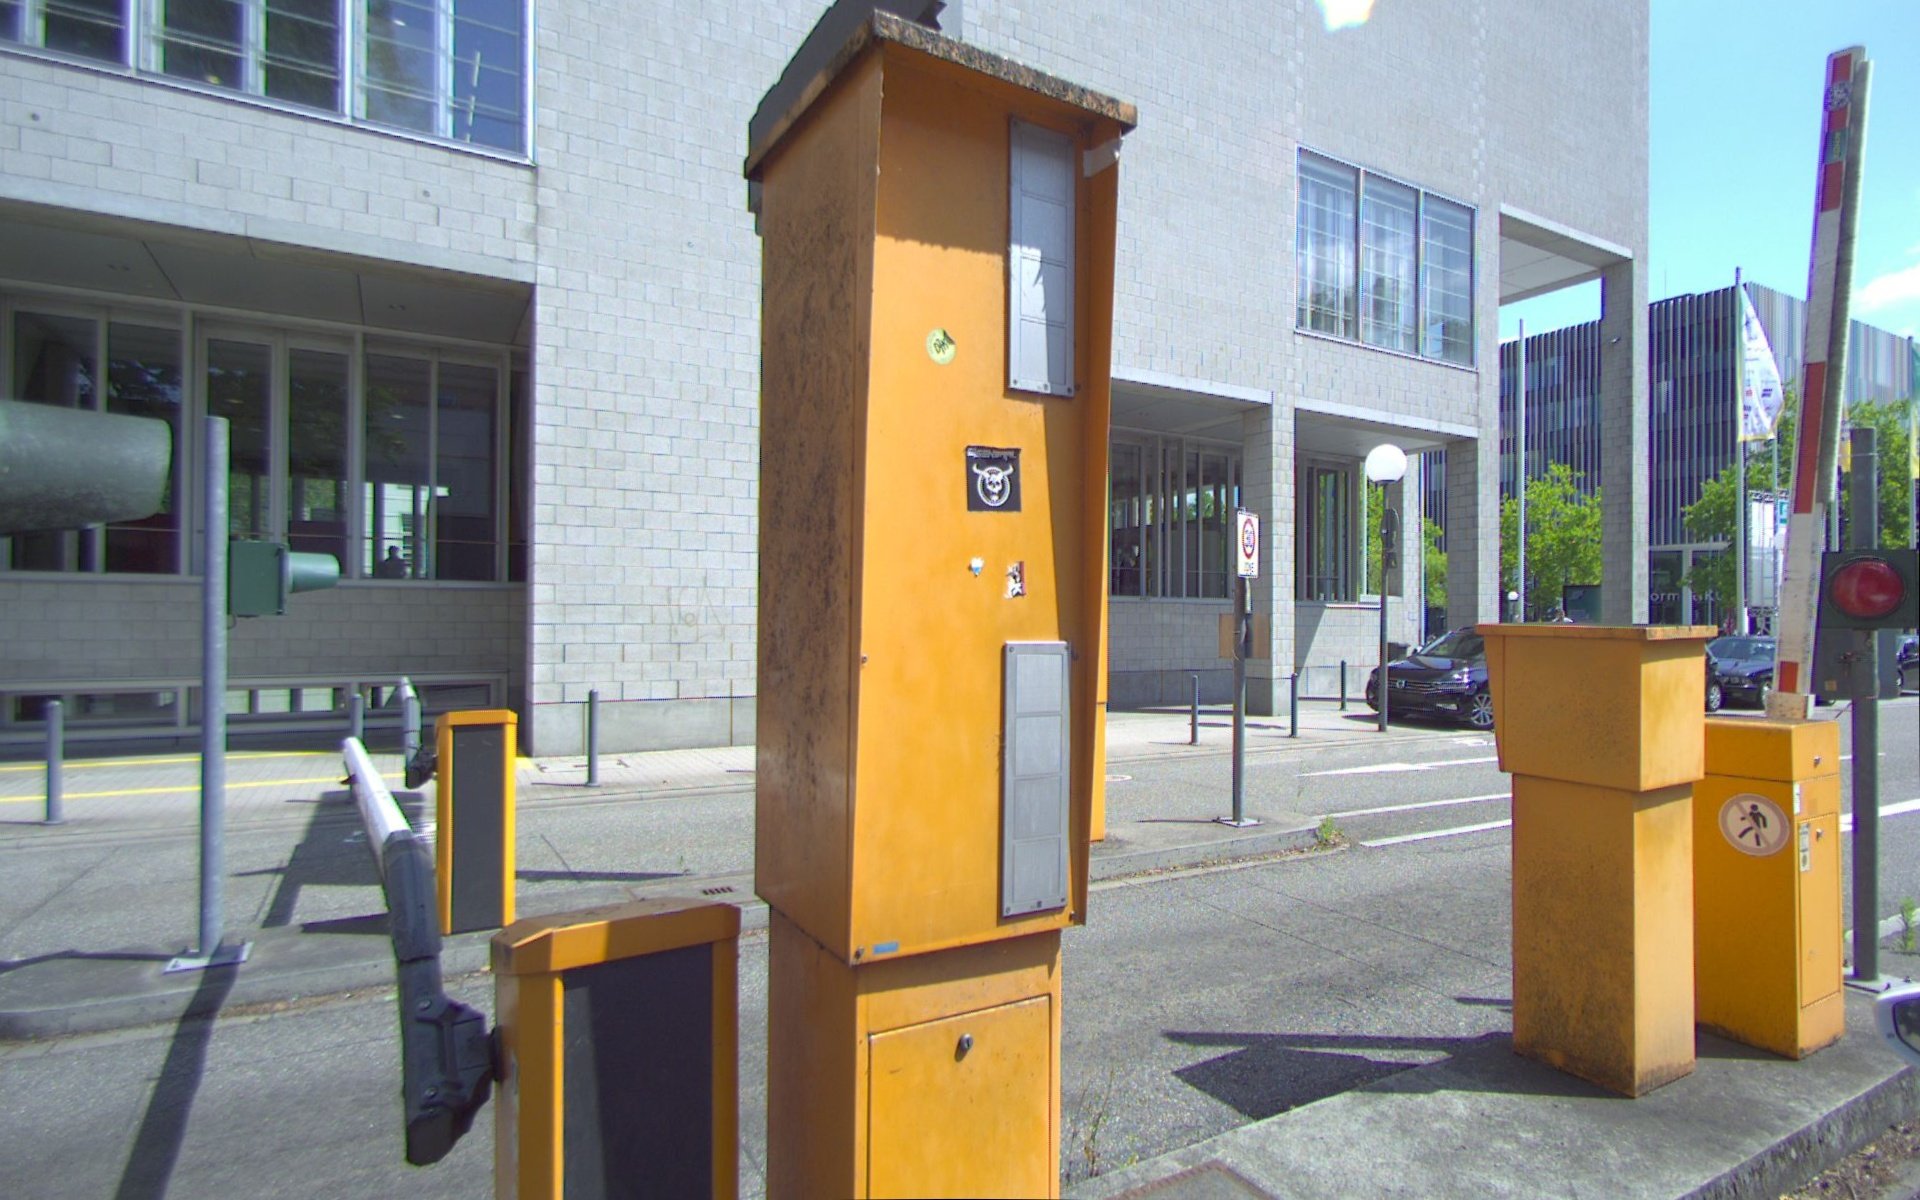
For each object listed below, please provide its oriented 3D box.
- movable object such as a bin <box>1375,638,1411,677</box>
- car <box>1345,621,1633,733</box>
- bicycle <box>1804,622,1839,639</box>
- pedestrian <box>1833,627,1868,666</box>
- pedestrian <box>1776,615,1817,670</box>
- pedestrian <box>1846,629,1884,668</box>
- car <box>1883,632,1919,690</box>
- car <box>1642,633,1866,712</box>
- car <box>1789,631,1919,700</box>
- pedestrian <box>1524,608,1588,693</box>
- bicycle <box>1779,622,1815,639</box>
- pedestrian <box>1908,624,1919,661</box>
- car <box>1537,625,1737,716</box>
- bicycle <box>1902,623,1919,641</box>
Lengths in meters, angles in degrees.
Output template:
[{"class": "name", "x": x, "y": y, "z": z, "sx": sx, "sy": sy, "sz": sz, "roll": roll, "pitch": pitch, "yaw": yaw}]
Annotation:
[{"class": "movable object such as a bin", "x": 10.828, "y": 1.435, "z": 25.122, "sx": 0.588, "sy": 0.942, "sz": 0.573, "roll": 1, "pitch": 0, "yaw": -30}, {"class": "car", "x": 8.467, "y": 1.139, "z": 15.979, "sx": 4.663, "sy": 1.487, "sz": 1.850, "roll": 1, "pitch": 1, "yaw": -30}, {"class": "bicycle", "x": 65.470, "y": 2.285, "z": 76.366, "sx": 1.178, "sy": 1.253, "sz": 2.949, "roll": 1, "pitch": -1, "yaw": 24}, {"class": "pedestrian", "x": 44.182, "y": 2.306, "z": 49.861, "sx": 0.987, "sy": 1.901, "sz": 0.854, "roll": 0, "pitch": -1, "yaw": -7}, {"class": "pedestrian", "x": 29.271, "y": 1.466, "z": 35.154, "sx": 1.074, "sy": 1.875, "sz": 0.717, "roll": 1, "pitch": 0, "yaw": -26}, {"class": "pedestrian", "x": 43.819, "y": 2.337, "z": 48.653, "sx": 1.075, "sy": 1.843, "sz": 0.863, "roll": 0, "pitch": -1, "yaw": -6}, {"class": "car", "x": 27.047, "y": 1.663, "z": 27.352, "sx": 3.864, "sy": 1.487, "sz": 1.669, "roll": 1, "pitch": 1, "yaw": -30}, {"class": "car", "x": 16.558, "y": 1.439, "z": 20.898, "sx": 4.954, "sy": 1.396, "sz": 1.851, "roll": 1, "pitch": 1, "yaw": -29}, {"class": "car", "x": 22.407, "y": 1.555, "z": 24.649, "sx": 4.144, "sy": 1.487, "sz": 1.740, "roll": 1, "pitch": 1, "yaw": -29}, {"class": "pedestrian", "x": 14.859, "y": 1.235, "z": 25.050, "sx": 1.153, "sy": 2.040, "sz": 0.978, "roll": 1, "pitch": -1, "yaw": -34}, {"class": "bicycle", "x": 64.177, "y": 2.307, "z": 77.055, "sx": 1.352, "sy": 1.253, "sz": 2.949, "roll": 1, "pitch": -1, "yaw": 24}, {"class": "pedestrian", "x": 43.032, "y": 1.893, "z": 44.896, "sx": 0.788, "sy": 1.619, "sz": 0.767, "roll": 1, "pitch": -1, "yaw": -28}, {"class": "car", "x": 12.611, "y": 1.247, "z": 18.676, "sx": 3.663, "sy": 1.487, "sz": 1.631, "roll": 1, "pitch": 1, "yaw": -30}, {"class": "bicycle", "x": 71.276, "y": 2.382, "z": 74.482, "sx": 1.178, "sy": 1.253, "sz": 2.949, "roll": 1, "pitch": -1, "yaw": 24}]
